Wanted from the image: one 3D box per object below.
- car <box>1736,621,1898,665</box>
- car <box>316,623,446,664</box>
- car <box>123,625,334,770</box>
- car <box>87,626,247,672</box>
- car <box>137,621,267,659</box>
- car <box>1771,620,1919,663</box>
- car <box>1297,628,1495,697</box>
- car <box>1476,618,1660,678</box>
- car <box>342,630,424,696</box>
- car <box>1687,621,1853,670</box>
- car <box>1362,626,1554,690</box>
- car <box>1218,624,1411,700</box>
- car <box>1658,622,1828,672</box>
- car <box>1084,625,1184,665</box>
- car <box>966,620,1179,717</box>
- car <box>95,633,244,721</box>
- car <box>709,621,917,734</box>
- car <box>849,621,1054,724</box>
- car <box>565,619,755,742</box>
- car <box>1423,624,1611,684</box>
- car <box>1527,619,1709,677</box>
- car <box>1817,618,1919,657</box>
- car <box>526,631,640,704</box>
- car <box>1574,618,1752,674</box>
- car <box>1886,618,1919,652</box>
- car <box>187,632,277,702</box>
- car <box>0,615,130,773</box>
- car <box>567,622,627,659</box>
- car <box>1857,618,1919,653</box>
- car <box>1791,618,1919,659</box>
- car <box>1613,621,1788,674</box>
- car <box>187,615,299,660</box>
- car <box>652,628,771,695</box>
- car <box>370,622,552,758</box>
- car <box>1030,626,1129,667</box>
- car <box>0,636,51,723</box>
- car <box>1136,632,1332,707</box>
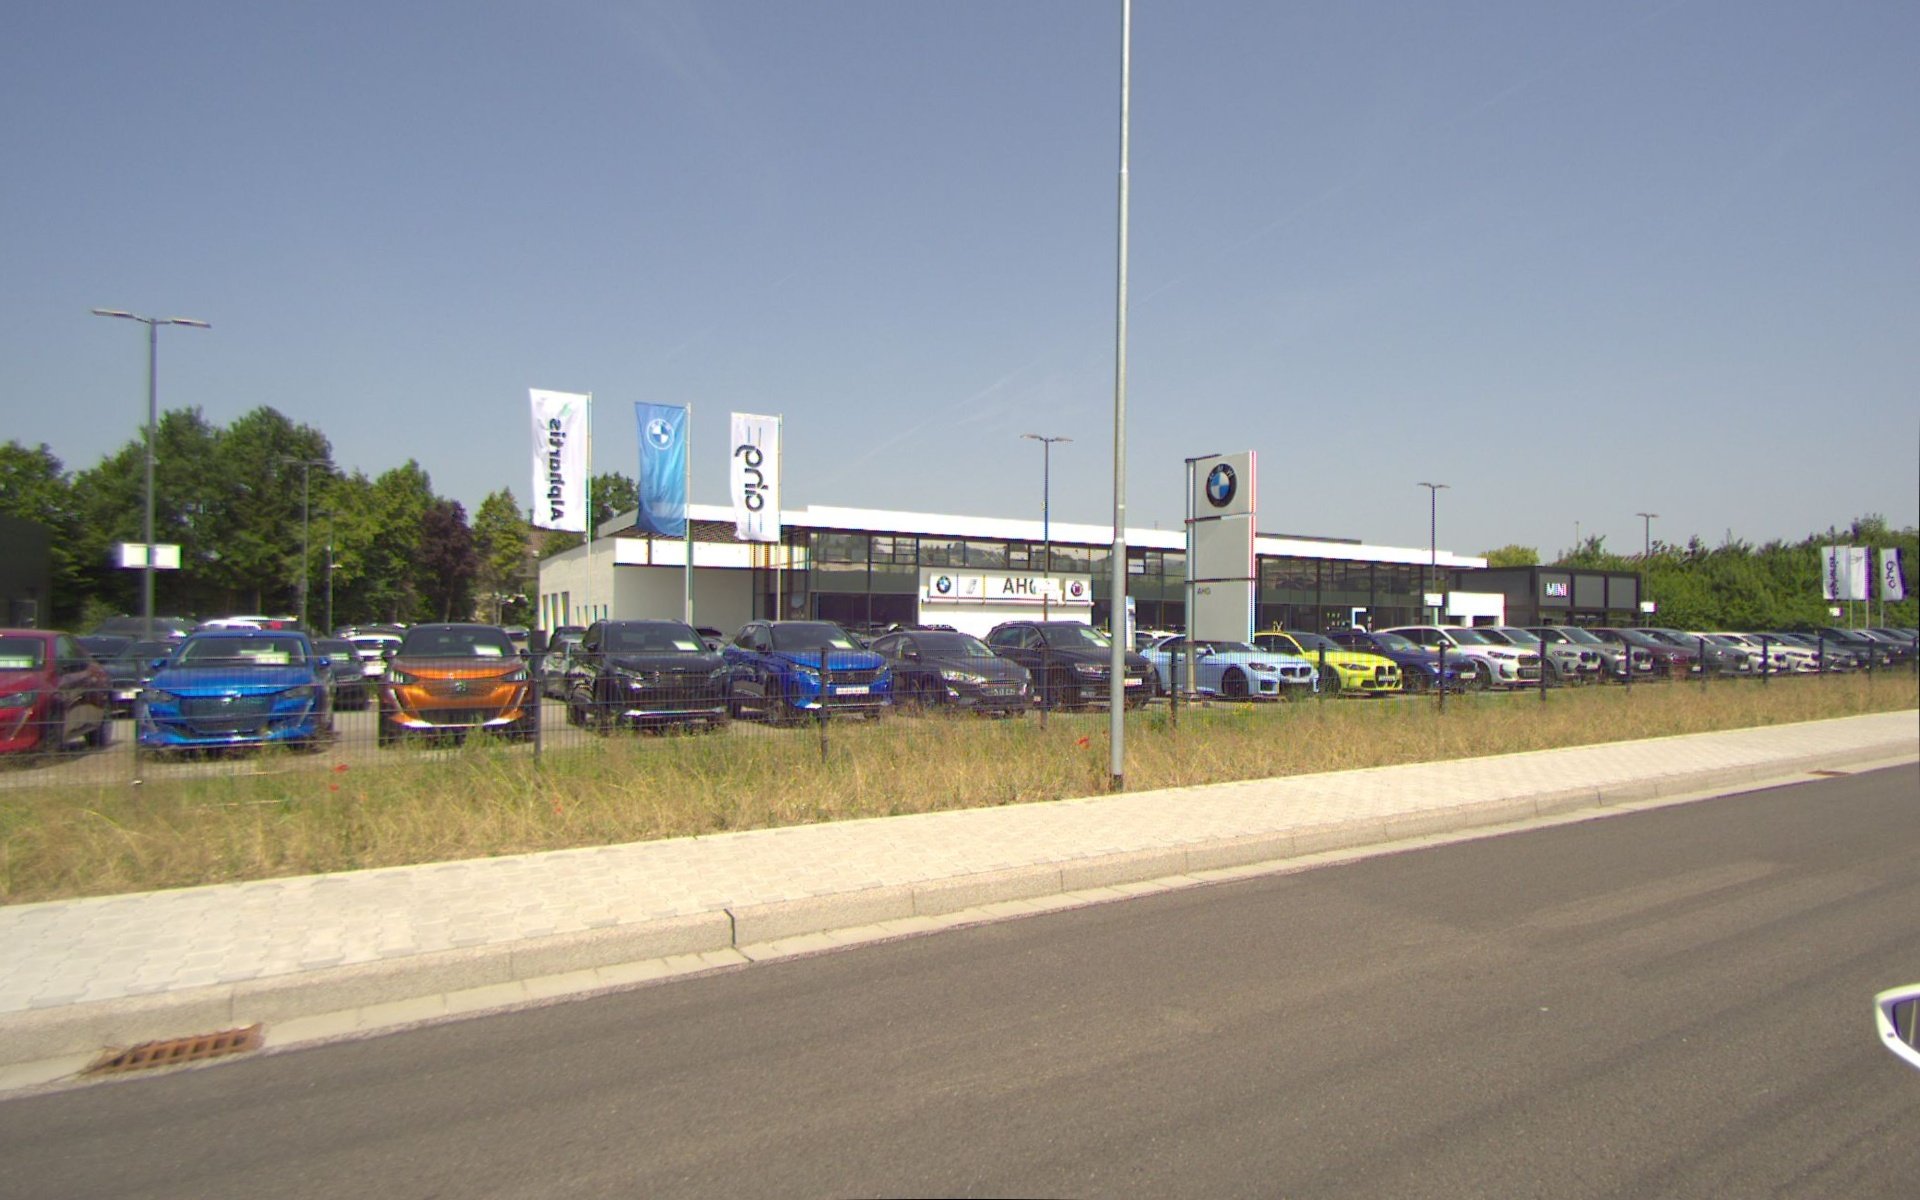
[{"bbox_3d":[31.076,1.544,36.553,1.793,1.486,4.146,0,-1,-29],"label":"car"},{"bbox_3d":[-22.388,1.655,38.899,4.300,1.500,1.612,0,-1,-34],"label":"car"},{"bbox_3d":[-8.838,1.063,12.454,1.766,1.464,3.967,0,-2,-31],"label":"car"},{"bbox_3d":[-27.839,1.693,35.466,4.300,1.500,1.612,0,-1,-34],"label":"car"},{"bbox_3d":[-31.984,1.684,42.556,4.300,1.500,1.612,0,-1,-34],"label":"car"},{"bbox_3d":[33.356,1.523,37.703,1.793,1.486,4.146,0,-1,-29],"label":"car"},{"bbox_3d":[10.354,1.425,24.148,1.793,1.486,4.146,0,-1,-29],"label":"car"},{"bbox_3d":[17.219,1.321,28.653,1.793,1.565,4.146,0,-1,-29],"label":"car"},{"bbox_3d":[-15.512,1.626,26.919,1.660,1.615,3.963,0,-2,-33],"label":"car"},{"bbox_3d":[28.135,1.540,35.015,1.793,1.565,4.146,0,-1,-29],"label":"car"},{"bbox_3d":[12.674,1.421,25.826,1.793,1.486,4.146,0,-1,-29],"label":"car"},{"bbox_3d":[7.977,1.347,22.925,1.793,1.554,3.970,0,-1,-29],"label":"car"},{"bbox_3d":[26.257,1.540,33.816,1.793,1.565,4.146,0,-1,-29],"label":"car"},{"bbox_3d":[6.978,1.785,40.656,1.793,1.486,4.146,0,-1,-29],"label":"car"},{"bbox_3d":[2.001,1.200,18.969,2.030,1.593,3.967,0,-2,-31],"label":"car"},{"bbox_3d":[-15.284,1.403,19.628,1.795,1.500,3.967,0,-2,-31],"label":"car"},{"bbox_3d":[-2.495,1.143,16.214,1.949,1.554,3.967,0,-2,-31],"label":"car"},{"bbox_3d":[-0.270,1.167,17.435,1.795,1.554,3.967,0,-1,-31],"label":"car"},{"bbox_3d":[-4.599,1.084,14.986,1.795,1.554,3.967,0,-1,-31],"label":"car"},{"bbox_3d":[14.994,1.403,27.269,1.793,1.486,4.146,0,-1,-29],"label":"car"},{"bbox_3d":[19.284,1.362,29.624,1.793,1.565,4.146,0,-1,-29],"label":"car"},{"bbox_3d":[37.282,1.481,40.230,1.793,1.486,4.146,0,-1,-29],"label":"car"},{"bbox_3d":[-8.841,1.487,23.384,1.795,1.514,3.967,0,-2,-31],"label":"car"},{"bbox_3d":[21.586,1.380,31.029,1.793,1.565,4.146,0,-1,-29],"label":"car"},{"bbox_3d":[43.864,1.527,44.289,1.793,1.486,4.146,0,-1,-29],"label":"car"},{"bbox_3d":[-18.390,1.625,25.513,1.660,1.615,3.963,0,-2,-33],"label":"car"},{"bbox_3d":[-10.846,0.972,11.259,1.795,1.548,3.967,0,-1,-31],"label":"car"},{"bbox_3d":[-15.704,1.739,43.310,1.609,1.500,4.308,0,-2,-31],"label":"car"},{"bbox_3d":[41.301,1.497,42.871,1.793,1.486,4.146,0,-1,-29],"label":"car"},{"bbox_3d":[35.160,1.476,38.946,1.793,1.486,4.146,0,-1,-29],"label":"car"},{"bbox_3d":[23.683,1.474,32.290,1.793,1.565,4.146,0,-1,-29],"label":"car"},{"bbox_3d":[-34.126,1.767,47.962,4.300,2.065,1.612,0,-1,-34],"label":"car"},{"bbox_3d":[-6.303,1.481,25.182,1.795,1.514,3.967,0,-2,-31],"label":"car"},{"bbox_3d":[-6.848,1.076,13.554,1.893,1.514,3.967,0,-2,-31],"label":"car"},{"bbox_3d":[4.654,1.786,39.536,1.793,1.486,4.146,0,-1,-29],"label":"car"},{"bbox_3d":[-18.019,1.409,18.016,1.795,1.500,3.967,0,-2,-31],"label":"car"},{"bbox_3d":[5.758,1.407,21.563,1.855,1.409,3.971,0,-1,-28],"label":"car"}]
